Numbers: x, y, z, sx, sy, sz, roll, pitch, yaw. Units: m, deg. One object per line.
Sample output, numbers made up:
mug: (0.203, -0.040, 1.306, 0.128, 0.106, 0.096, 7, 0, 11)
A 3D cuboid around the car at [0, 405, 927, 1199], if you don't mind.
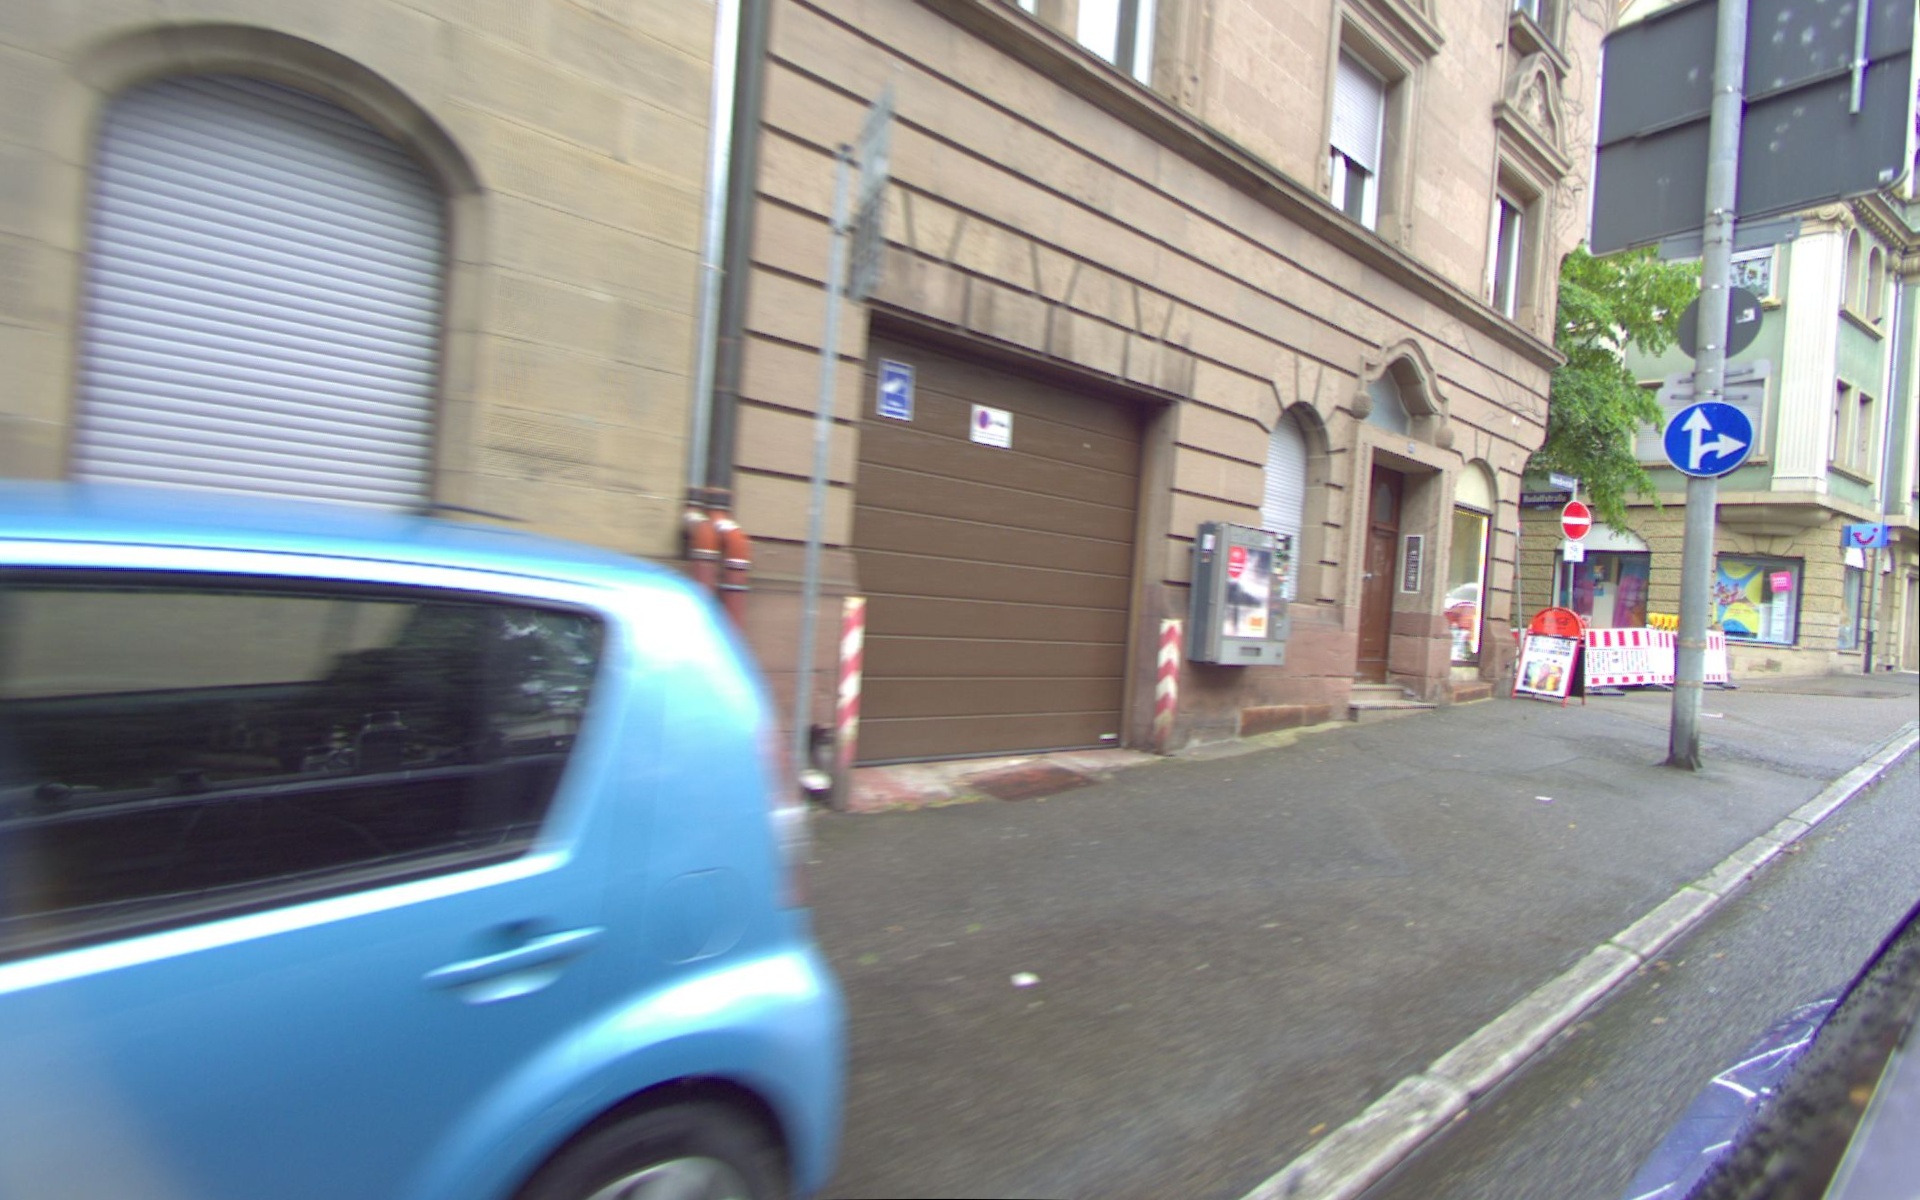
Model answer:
car: (-1.982, 0.511, 1.350, 3.602, 1.561, 1.660, 0, 4, -42)
